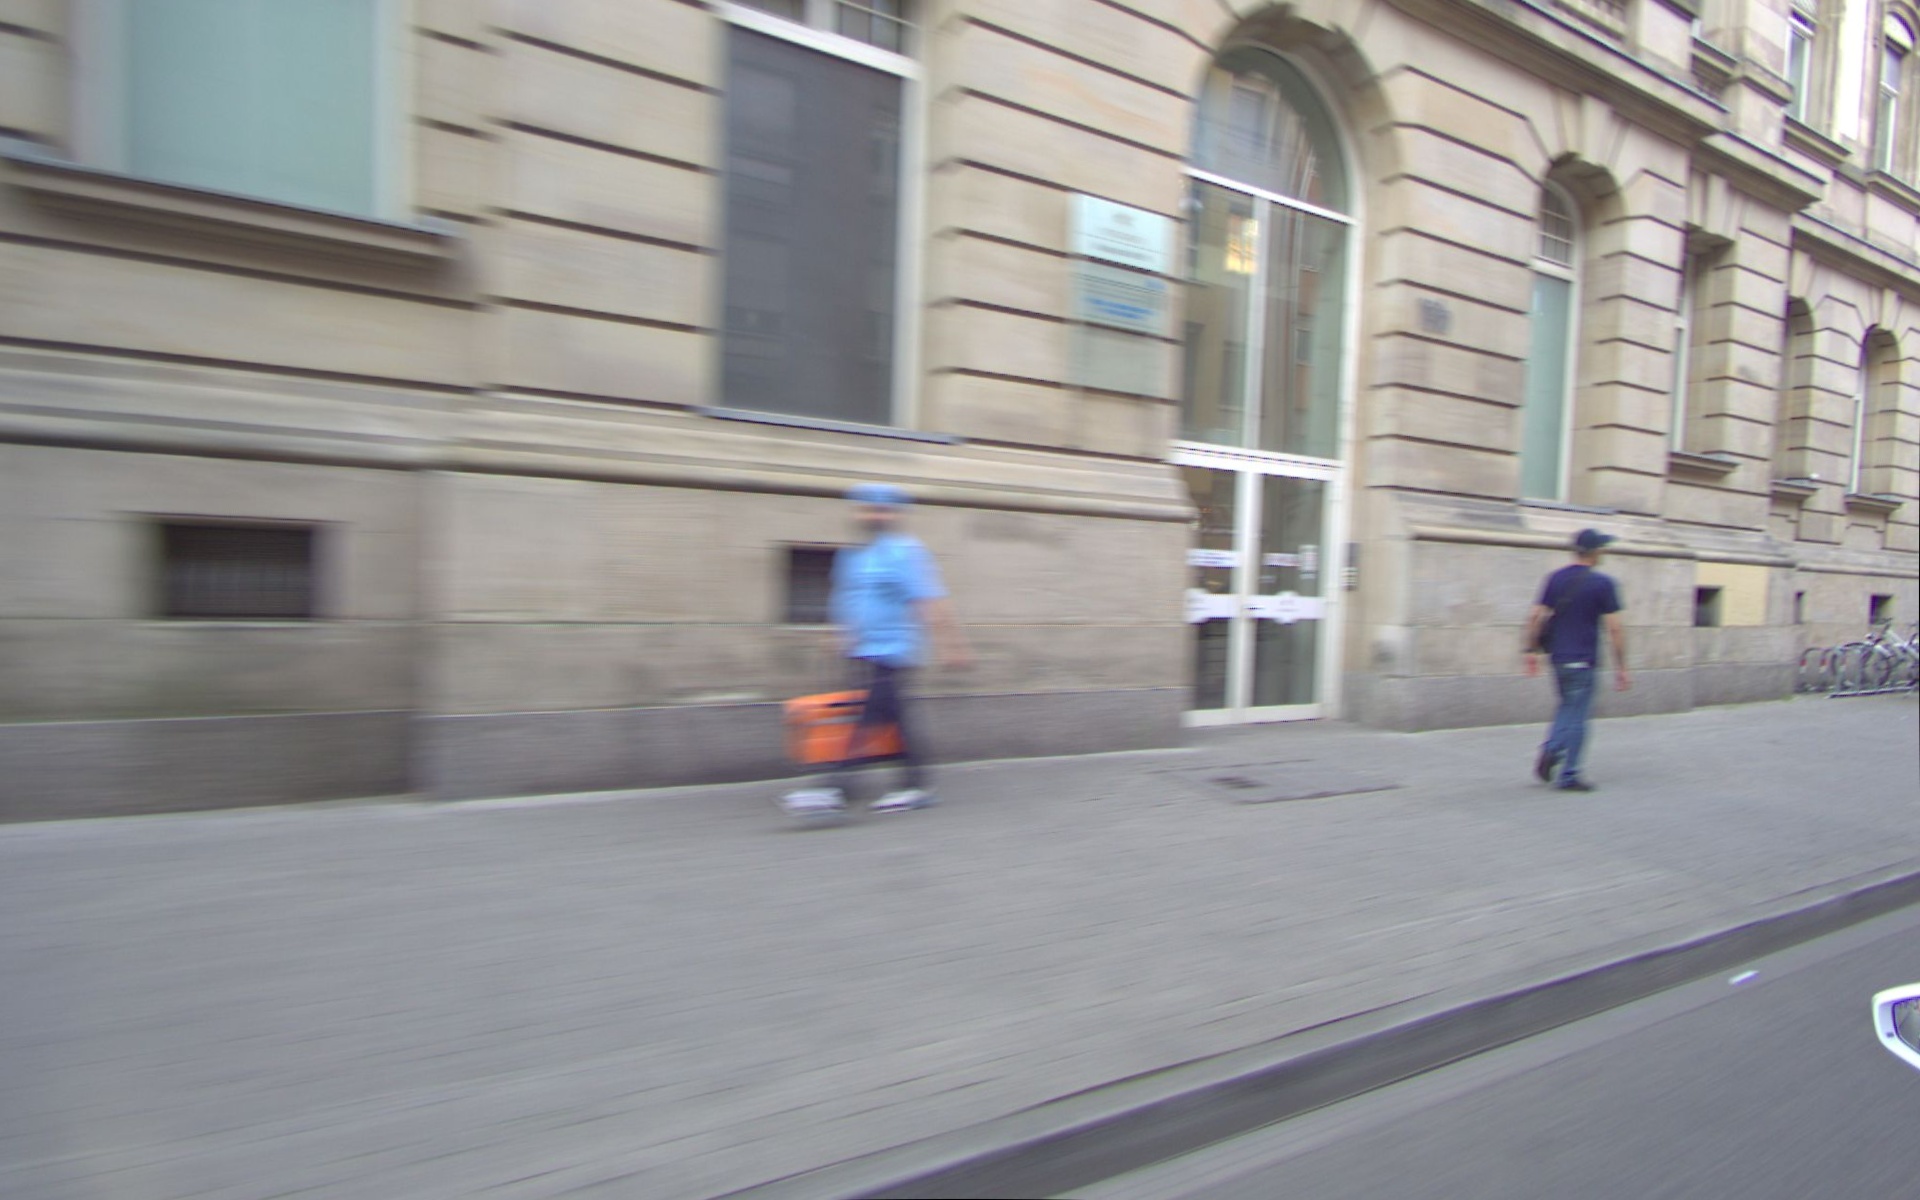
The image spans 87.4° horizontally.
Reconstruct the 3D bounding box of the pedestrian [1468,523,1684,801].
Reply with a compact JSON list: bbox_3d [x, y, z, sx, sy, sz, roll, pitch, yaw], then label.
[{"bbox_3d":[4.252,0.384,6.962,0.958,1.774,0.805,1,3,-30],"label":"pedestrian"}]

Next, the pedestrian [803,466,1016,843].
[{"bbox_3d":[-0.288,0.234,5.223,0.759,1.769,0.825,0,5,-29],"label":"pedestrian"}]

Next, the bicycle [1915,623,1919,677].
[{"bbox_3d":[16.799,0.786,16.286,0.495,1.122,1.782,1,3,-35],"label":"bicycle"}]

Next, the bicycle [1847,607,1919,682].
[{"bbox_3d":[14.864,0.719,15.259,0.613,1.076,1.924,1,4,-35],"label":"bicycle"}]

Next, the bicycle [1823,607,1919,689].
[{"bbox_3d":[13.855,0.718,14.535,0.612,1.076,1.927,1,3,-30],"label":"bicycle"}]
